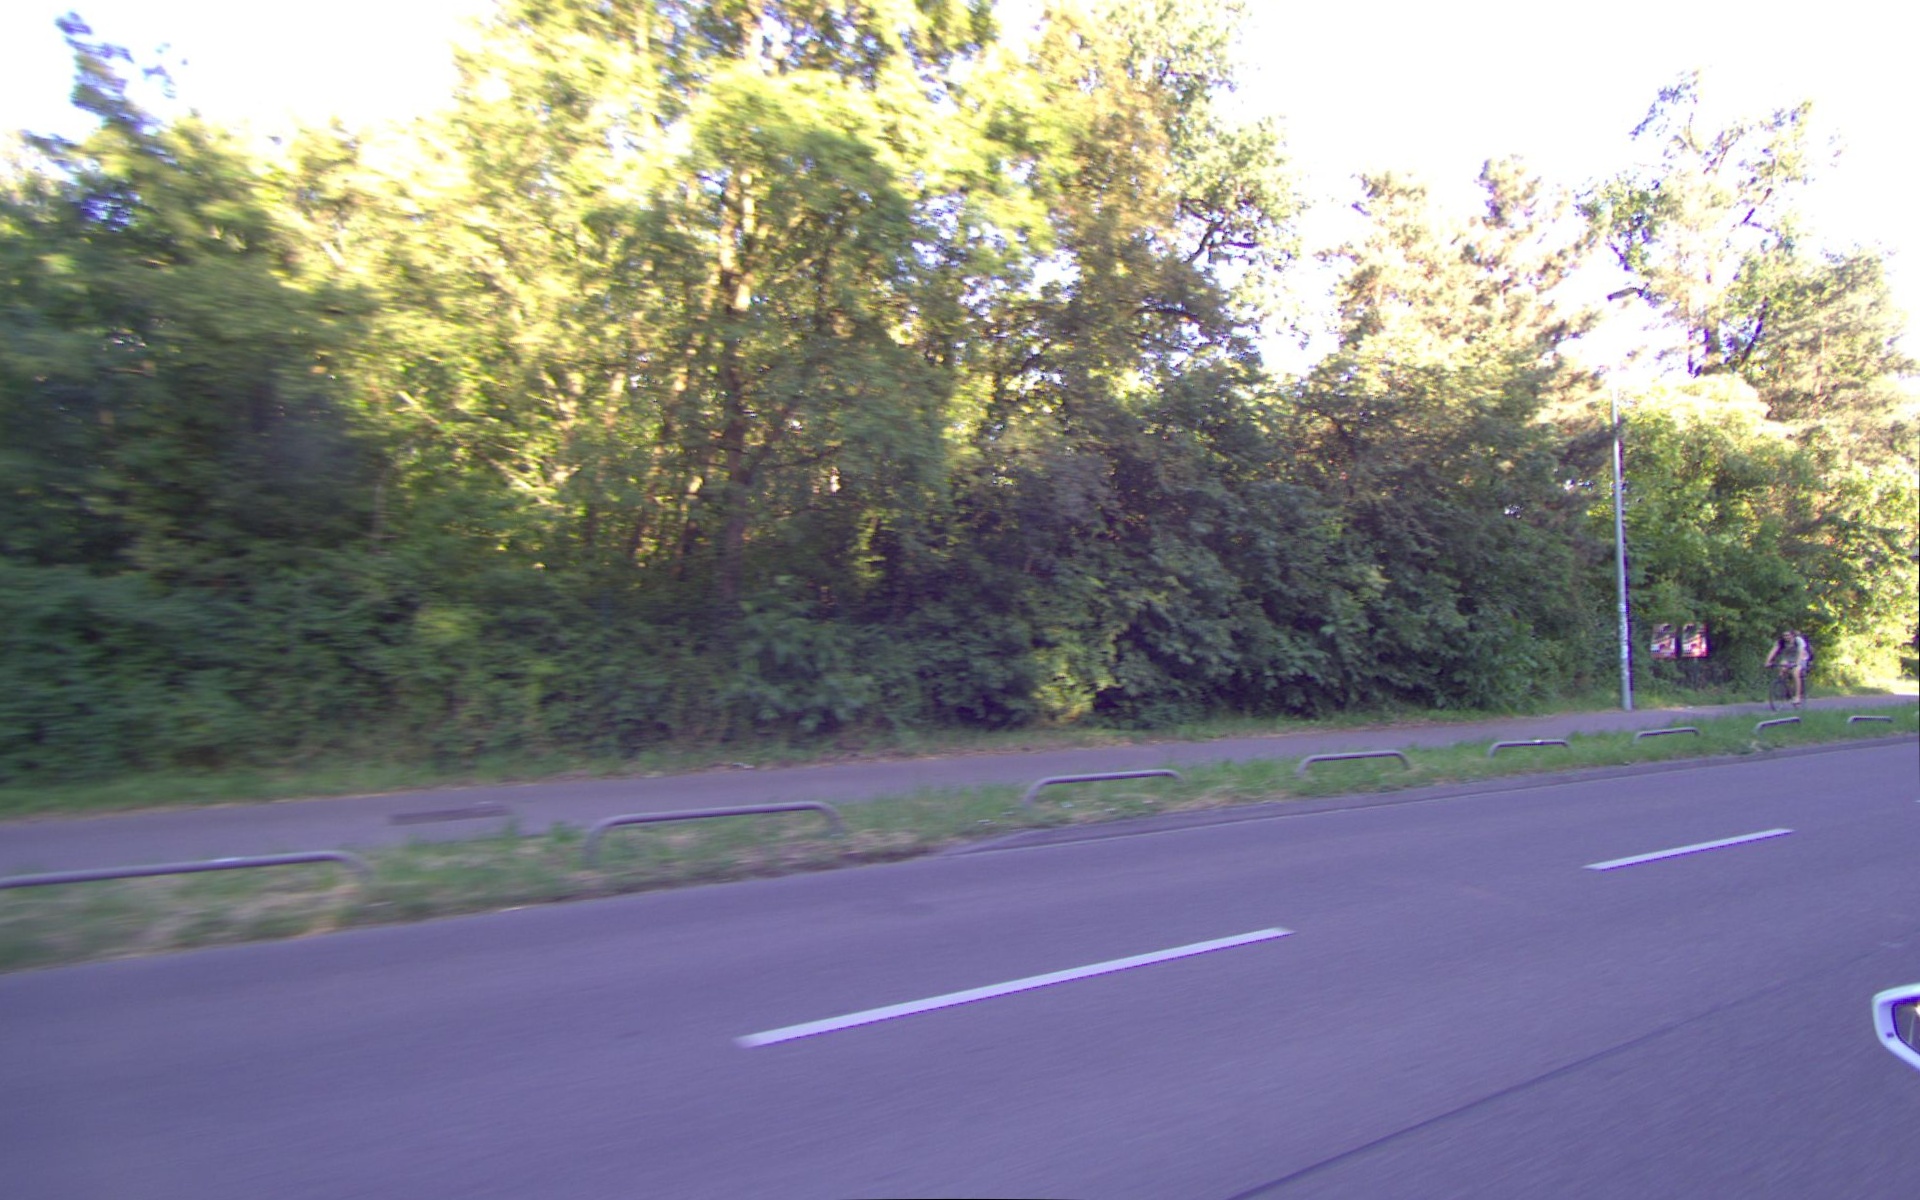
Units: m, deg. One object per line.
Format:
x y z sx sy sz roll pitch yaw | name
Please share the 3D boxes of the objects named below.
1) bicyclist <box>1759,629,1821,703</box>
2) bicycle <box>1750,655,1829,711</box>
18.311 1.452 22.160 1.129 1.579 0.709 2 -1 -30 | bicyclist
18.302 1.810 22.157 1.970 1.162 0.709 2 -1 -30 | bicycle
